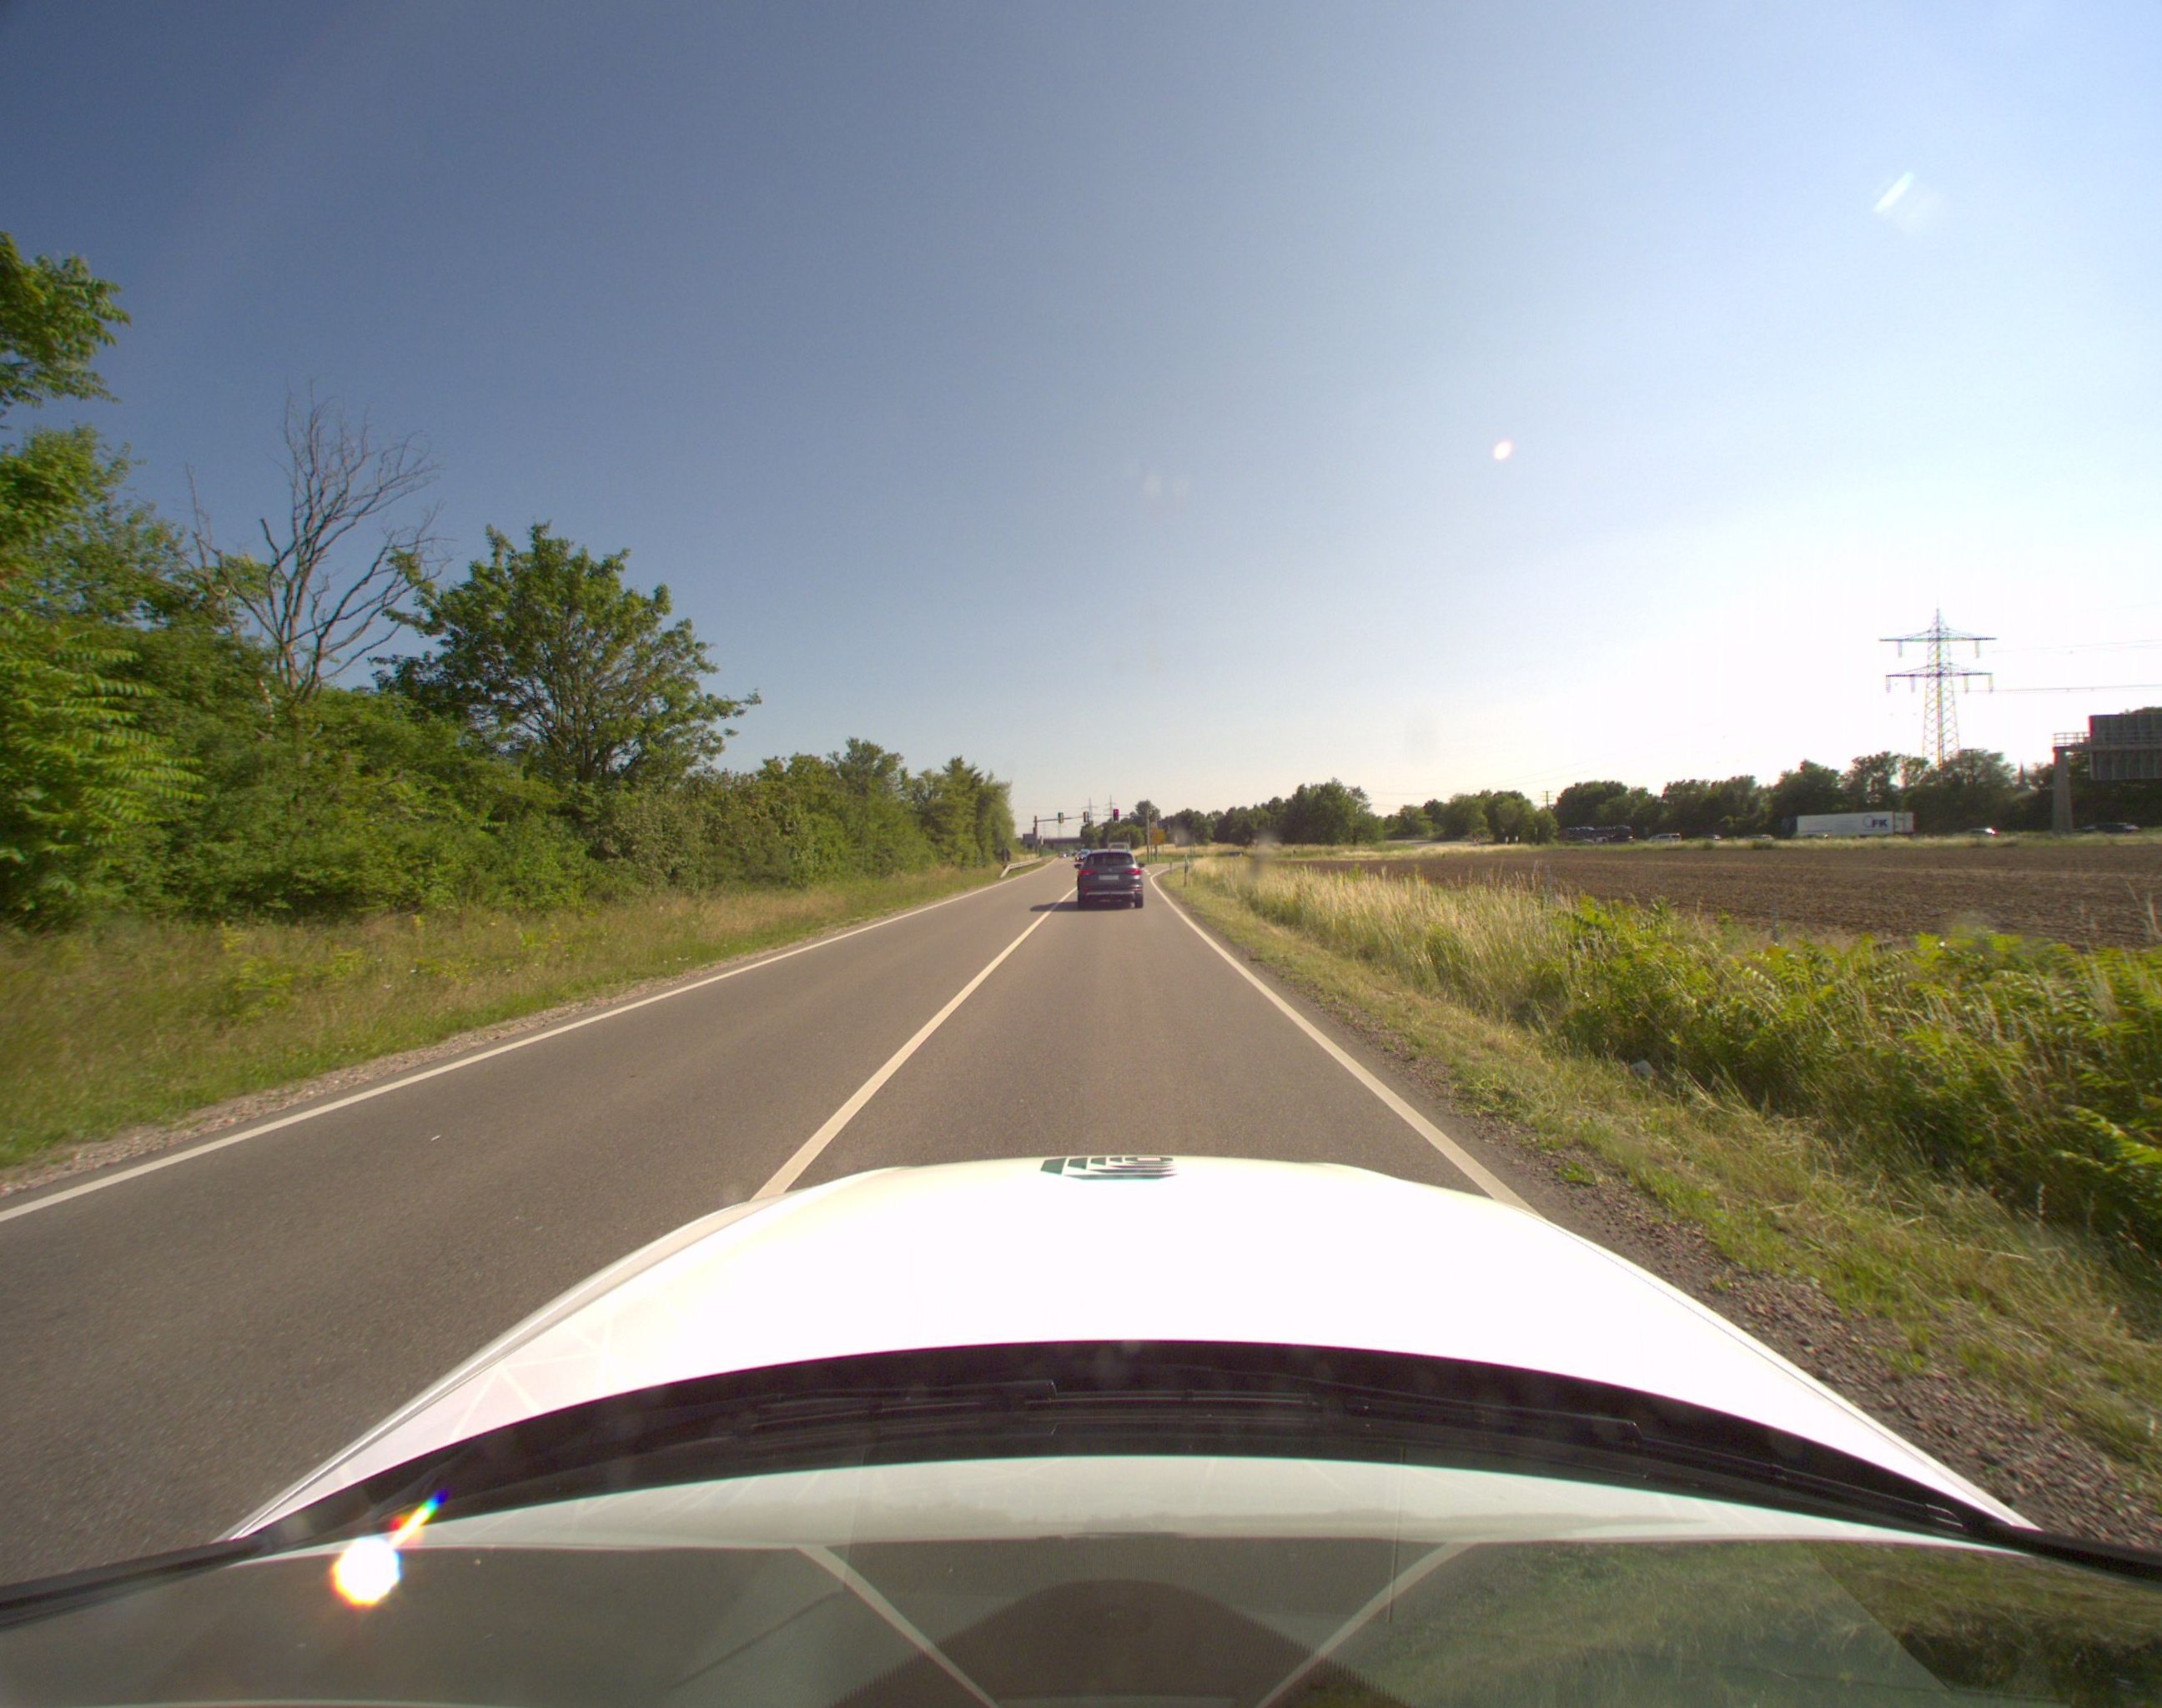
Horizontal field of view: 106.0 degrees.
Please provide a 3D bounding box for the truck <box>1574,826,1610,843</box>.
[{"bbox_3d":[103.201,-3.836,164.636,3.273,3.267,6.429,-2,1,0],"label":"truck"}]

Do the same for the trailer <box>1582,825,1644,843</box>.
[{"bbox_3d":[103.128,-3.759,158.222,3.273,3.267,13.454,-2,1,1],"label":"trailer"}]

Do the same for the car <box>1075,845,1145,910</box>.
[{"bbox_3d":[0.813,0.594,23.131,1.779,1.629,4.001,-1,0,1],"label":"car"}]

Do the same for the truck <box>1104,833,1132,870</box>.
[{"bbox_3d":[3.255,-0.176,71.960,2.328,3.066,5.813,-1,0,2],"label":"truck"}]

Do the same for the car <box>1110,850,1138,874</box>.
[{"bbox_3d":[2.922,0.509,55.605,1.779,1.543,4.001,-1,0,1],"label":"car"}]

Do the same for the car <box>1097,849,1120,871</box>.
[{"bbox_3d":[2.159,0.439,64.449,1.779,1.675,4.001,-1,0,1],"label":"car"}]

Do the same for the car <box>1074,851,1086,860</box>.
[{"bbox_3d":[-0.156,0.258,128.871,1.679,1.380,3.531,-1,1,-2],"label":"car"}]

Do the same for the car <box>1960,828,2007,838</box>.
[{"bbox_3d":[102.182,-2.377,92.216,1.390,1.151,3.581,0,1,-1],"label":"car"}]

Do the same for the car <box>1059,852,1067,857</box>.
[{"bbox_3d":[-4.691,0.130,209.663,1.820,1.431,3.996,-2,0,-2],"label":"car"}]

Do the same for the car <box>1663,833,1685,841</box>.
[{"bbox_3d":[96.216,-2.750,132.201,1.389,1.151,3.182,0,1,1],"label":"car"}]

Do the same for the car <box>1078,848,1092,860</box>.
[{"bbox_3d":[0.614,0.012,116.317,1.811,1.540,3.997,-2,0,-2],"label":"car"}]

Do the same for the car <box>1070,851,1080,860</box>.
[{"bbox_3d":[-1.024,0.201,136.553,1.679,1.380,3.531,-1,1,-2],"label":"car"}]

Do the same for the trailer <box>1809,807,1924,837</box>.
[{"bbox_3d":[103.524,-4.134,107.763,3.273,3.267,12.456,-2,0,1],"label":"trailer"}]

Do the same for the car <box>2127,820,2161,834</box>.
[{"bbox_3d":[96.260,-2.426,72.632,1.390,1.151,3.581,0,1,-1],"label":"car"}]

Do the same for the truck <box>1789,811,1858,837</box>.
[{"bbox_3d":[103.593,-4.138,113.755,3.273,3.267,6.979,-2,0,0],"label":"truck"}]
